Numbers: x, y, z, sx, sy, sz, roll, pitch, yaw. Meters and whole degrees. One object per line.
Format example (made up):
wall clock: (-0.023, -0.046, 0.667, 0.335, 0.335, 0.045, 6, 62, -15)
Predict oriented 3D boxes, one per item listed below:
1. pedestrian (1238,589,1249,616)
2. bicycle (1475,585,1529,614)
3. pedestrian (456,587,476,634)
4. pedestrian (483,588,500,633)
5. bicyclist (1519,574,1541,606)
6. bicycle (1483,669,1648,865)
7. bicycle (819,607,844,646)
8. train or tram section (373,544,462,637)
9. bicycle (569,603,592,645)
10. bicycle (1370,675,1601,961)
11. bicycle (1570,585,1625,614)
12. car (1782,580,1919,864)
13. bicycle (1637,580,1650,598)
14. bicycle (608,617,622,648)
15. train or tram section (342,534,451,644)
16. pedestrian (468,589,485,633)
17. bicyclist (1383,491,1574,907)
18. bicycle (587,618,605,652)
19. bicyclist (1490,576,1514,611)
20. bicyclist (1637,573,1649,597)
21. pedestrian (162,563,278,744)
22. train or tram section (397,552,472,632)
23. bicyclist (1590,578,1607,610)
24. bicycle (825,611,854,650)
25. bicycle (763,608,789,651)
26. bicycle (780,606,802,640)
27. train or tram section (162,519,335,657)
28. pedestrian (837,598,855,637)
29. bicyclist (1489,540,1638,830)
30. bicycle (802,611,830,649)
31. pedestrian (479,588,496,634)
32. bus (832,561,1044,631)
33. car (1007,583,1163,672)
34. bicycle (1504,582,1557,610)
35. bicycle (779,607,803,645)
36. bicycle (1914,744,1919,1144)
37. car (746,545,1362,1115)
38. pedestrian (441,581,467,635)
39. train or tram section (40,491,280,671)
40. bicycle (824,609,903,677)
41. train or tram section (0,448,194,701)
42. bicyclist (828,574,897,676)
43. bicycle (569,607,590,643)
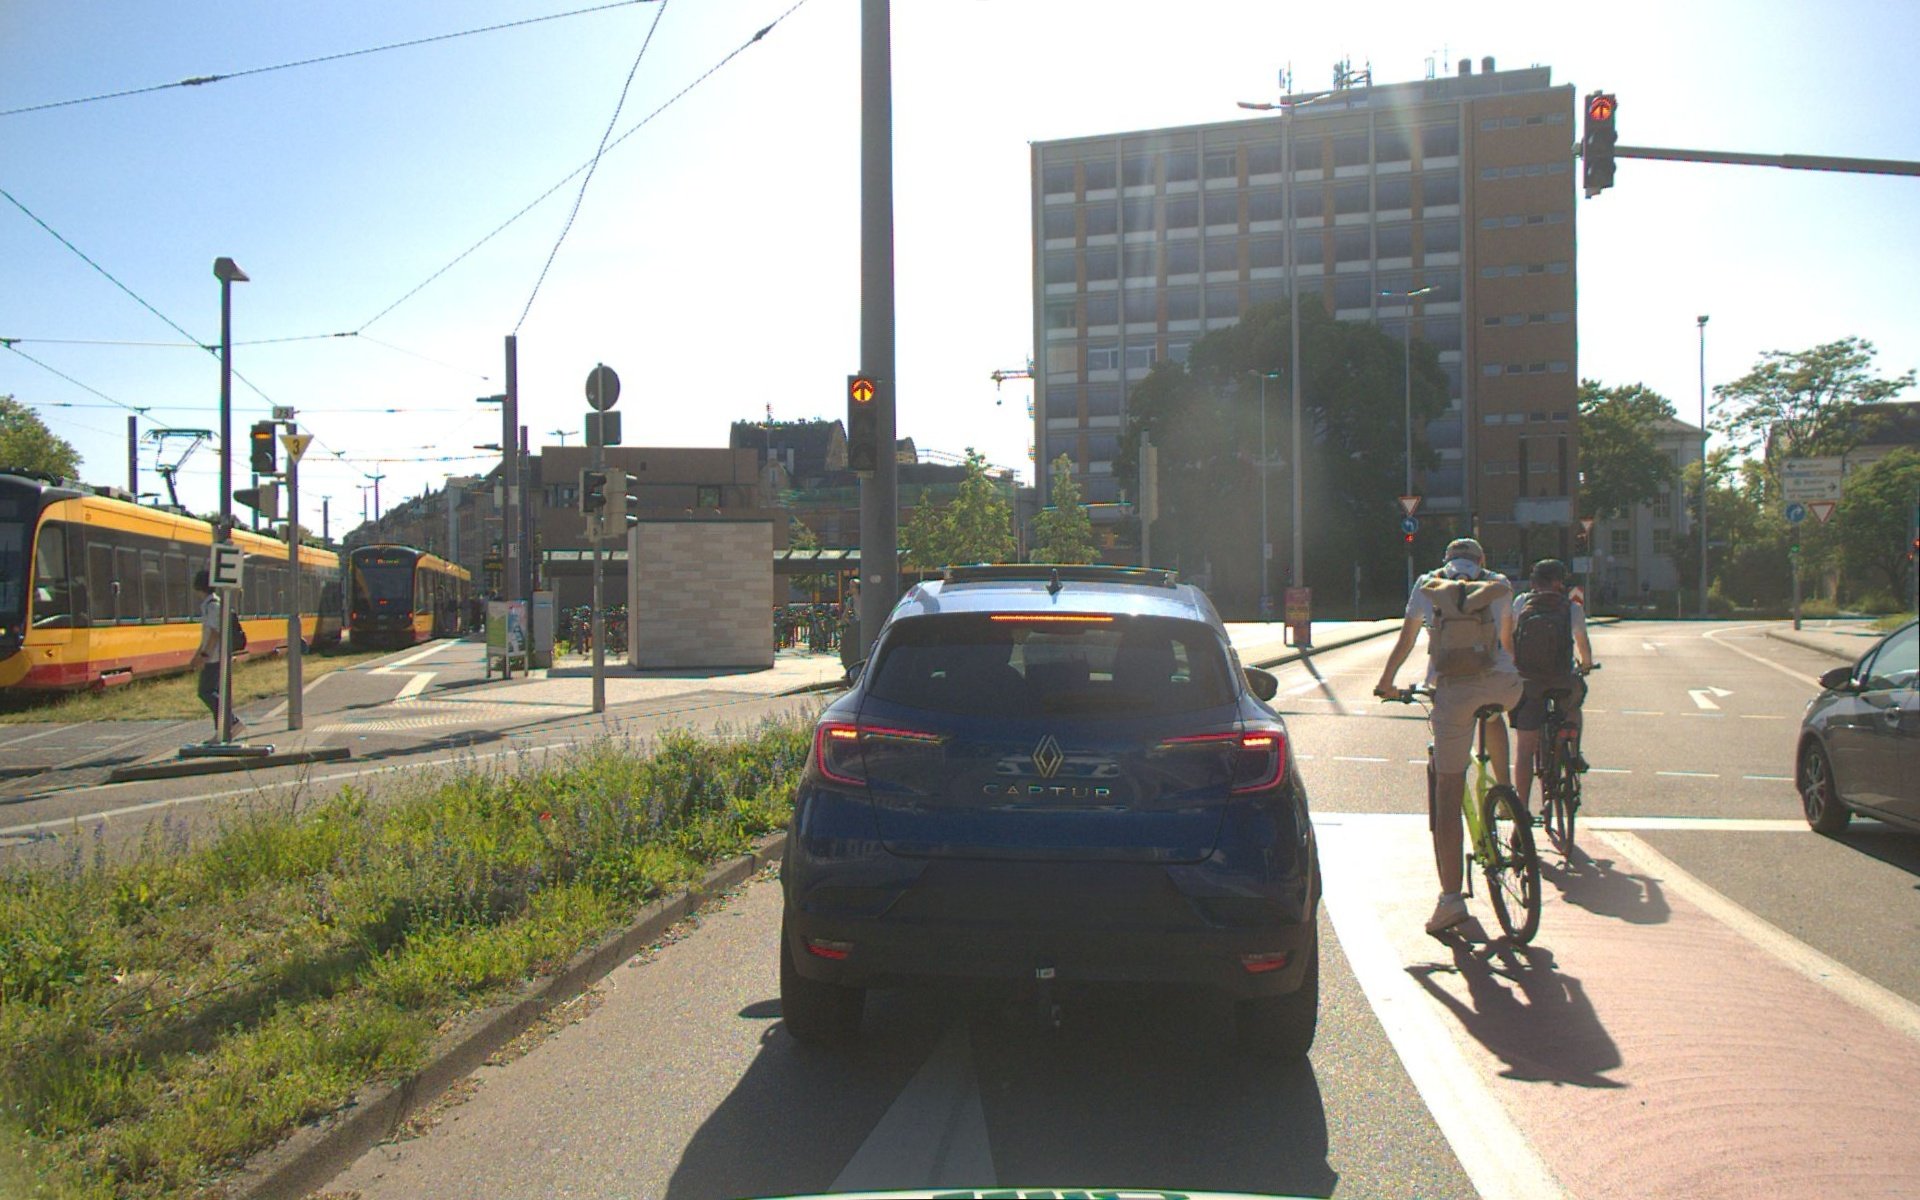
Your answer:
pedestrian: (17.506, 0.148, 102.216, 0.551, 1.699, 0.474, -1, -2, 36)
bicycle: (29.874, -0.032, 91.165, 2.746, 1.568, 0.883, 0, -1, 25)
pedestrian: (-19.727, 0.419, 66.063, 0.661, 1.889, 0.701, 1, -1, -9)
pedestrian: (-20.012, 0.454, 70.623, 0.621, 1.889, 0.701, 1, -1, -11)
bicyclist: (32.358, -0.567, 93.844, 1.132, 1.829, 0.885, 0, -1, 15)
bicycle: (3.639, 0.959, 10.078, 0.707, 0.976, 1.885, 1, 0, 13)
bicycle: (-3.785, 0.778, 48.693, 0.570, 1.107, 2.054, 1, -1, -9)
train or tram section: (-22.451, -0.347, 68.928, 2.823, 3.569, 10.502, 0, 0, -14)
bicycle: (-10.487, 0.667, 45.735, 0.556, 1.112, 2.023, 1, -1, -11)
bicycle: (2.366, 0.925, 7.660, 0.648, 1.065, 1.891, 0, 0, 6)
bicycle: (34.892, -0.014, 90.532, 2.746, 1.568, 0.883, 0, -1, 25)
car: (6.211, 0.673, 9.397, 1.718, 1.568, 3.662, 0, 0, 9)
bicycle: (43.459, -0.678, 105.142, 0.597, 1.112, 1.669, -1, 0, 29)
bicycle: (-10.951, 1.020, 52.467, 0.414, 0.954, 1.375, 1, 0, -12)
train or tram section: (-19.871, -0.349, 58.825, 2.823, 3.569, 10.502, 0, 0, -14)
pedestrian: (-20.843, 0.462, 71.326, 0.620, 1.889, 0.701, 1, -1, -9)
bicyclist: (2.354, 0.424, 7.610, 0.649, 1.778, 1.006, 0, 0, 6)
bicycle: (-10.446, 1.004, 47.453, 0.415, 0.954, 1.300, 1, 0, -15)
bicyclist: (29.880, -0.357, 91.157, 1.183, 1.930, 0.883, 0, -1, 24)
bicyclist: (43.400, -0.957, 105.052, 0.606, 1.469, 0.818, -1, 0, 29)
pedestrian: (-7.859, 0.566, 17.608, 1.000, 1.864, 0.757, 1, -1, -16)
train or tram section: (-25.002, -0.362, 79.101, 2.823, 3.569, 10.502, 0, 0, -14)
bicyclist: (34.945, -0.313, 90.514, 0.841, 1.721, 0.884, 0, -1, 24)
bicycle: (-3.137, 0.789, 43.059, 0.570, 0.978, 2.054, 1, -1, -9)
bicycle: (-4.731, 0.770, 42.572, 0.570, 1.076, 1.812, 1, -1, -9)
bicycle: (-5.742, 0.786, 56.065, 0.570, 1.107, 1.866, 1, -1, -11)
train or tram section: (-20.674, -0.300, 48.754, 2.768, 3.569, 11.170, 0, 0, -14)
pedestrian: (-5.484, 0.842, 79.392, 0.710, 1.889, 0.703, 0, -1, 8)
bicyclist: (3.629, 0.479, 10.017, 0.706, 1.654, 1.056, 1, 0, 13)
bicycle: (-3.736, 0.783, 42.963, 0.570, 0.978, 2.054, 1, -1, -9)
pedestrian: (-19.498, 0.461, 68.239, 0.623, 1.889, 0.699, 1, -1, -20)
bus: (-1.335, -0.111, 86.756, 12.212, 3.455, 2.867, -1, -2, 40)
car: (2.365, 0.456, 30.248, 1.763, 1.417, 4.094, -1, 1, 21)
bicycle: (32.353, -0.249, 93.845, 2.742, 1.568, 0.885, 0, -1, 15)
bicycle: (-4.969, 0.769, 48.603, 0.570, 1.107, 2.054, 1, -1, -9)
bicycle: (2.792, 0.945, 3.624, 0.598, 1.096, 1.831, 0, 0, 9)
car: (0.420, 0.658, 6.678, 1.785, 1.628, 3.661, 1, 0, 5)
pedestrian: (-18.288, 0.301, 59.777, 0.833, 1.916, 0.757, 1, -1, -16)
train or tram section: (-18.123, -0.359, 38.287, 2.768, 3.569, 10.573, 0, 0, -14)
bicycle: (-1.618, 0.712, 28.020, 0.756, 1.099, 2.037, -1, -1, 13)
train or tram section: (-15.577, -0.342, 28.131, 2.771, 3.569, 10.437, -1, 0, -15)
bicyclist: (-1.642, 0.417, 28.016, 0.861, 1.673, 1.061, -1, -1, 13)
bicycle: (-11.951, 0.779, 52.021, 0.556, 1.112, 2.023, 1, -1, -11)
